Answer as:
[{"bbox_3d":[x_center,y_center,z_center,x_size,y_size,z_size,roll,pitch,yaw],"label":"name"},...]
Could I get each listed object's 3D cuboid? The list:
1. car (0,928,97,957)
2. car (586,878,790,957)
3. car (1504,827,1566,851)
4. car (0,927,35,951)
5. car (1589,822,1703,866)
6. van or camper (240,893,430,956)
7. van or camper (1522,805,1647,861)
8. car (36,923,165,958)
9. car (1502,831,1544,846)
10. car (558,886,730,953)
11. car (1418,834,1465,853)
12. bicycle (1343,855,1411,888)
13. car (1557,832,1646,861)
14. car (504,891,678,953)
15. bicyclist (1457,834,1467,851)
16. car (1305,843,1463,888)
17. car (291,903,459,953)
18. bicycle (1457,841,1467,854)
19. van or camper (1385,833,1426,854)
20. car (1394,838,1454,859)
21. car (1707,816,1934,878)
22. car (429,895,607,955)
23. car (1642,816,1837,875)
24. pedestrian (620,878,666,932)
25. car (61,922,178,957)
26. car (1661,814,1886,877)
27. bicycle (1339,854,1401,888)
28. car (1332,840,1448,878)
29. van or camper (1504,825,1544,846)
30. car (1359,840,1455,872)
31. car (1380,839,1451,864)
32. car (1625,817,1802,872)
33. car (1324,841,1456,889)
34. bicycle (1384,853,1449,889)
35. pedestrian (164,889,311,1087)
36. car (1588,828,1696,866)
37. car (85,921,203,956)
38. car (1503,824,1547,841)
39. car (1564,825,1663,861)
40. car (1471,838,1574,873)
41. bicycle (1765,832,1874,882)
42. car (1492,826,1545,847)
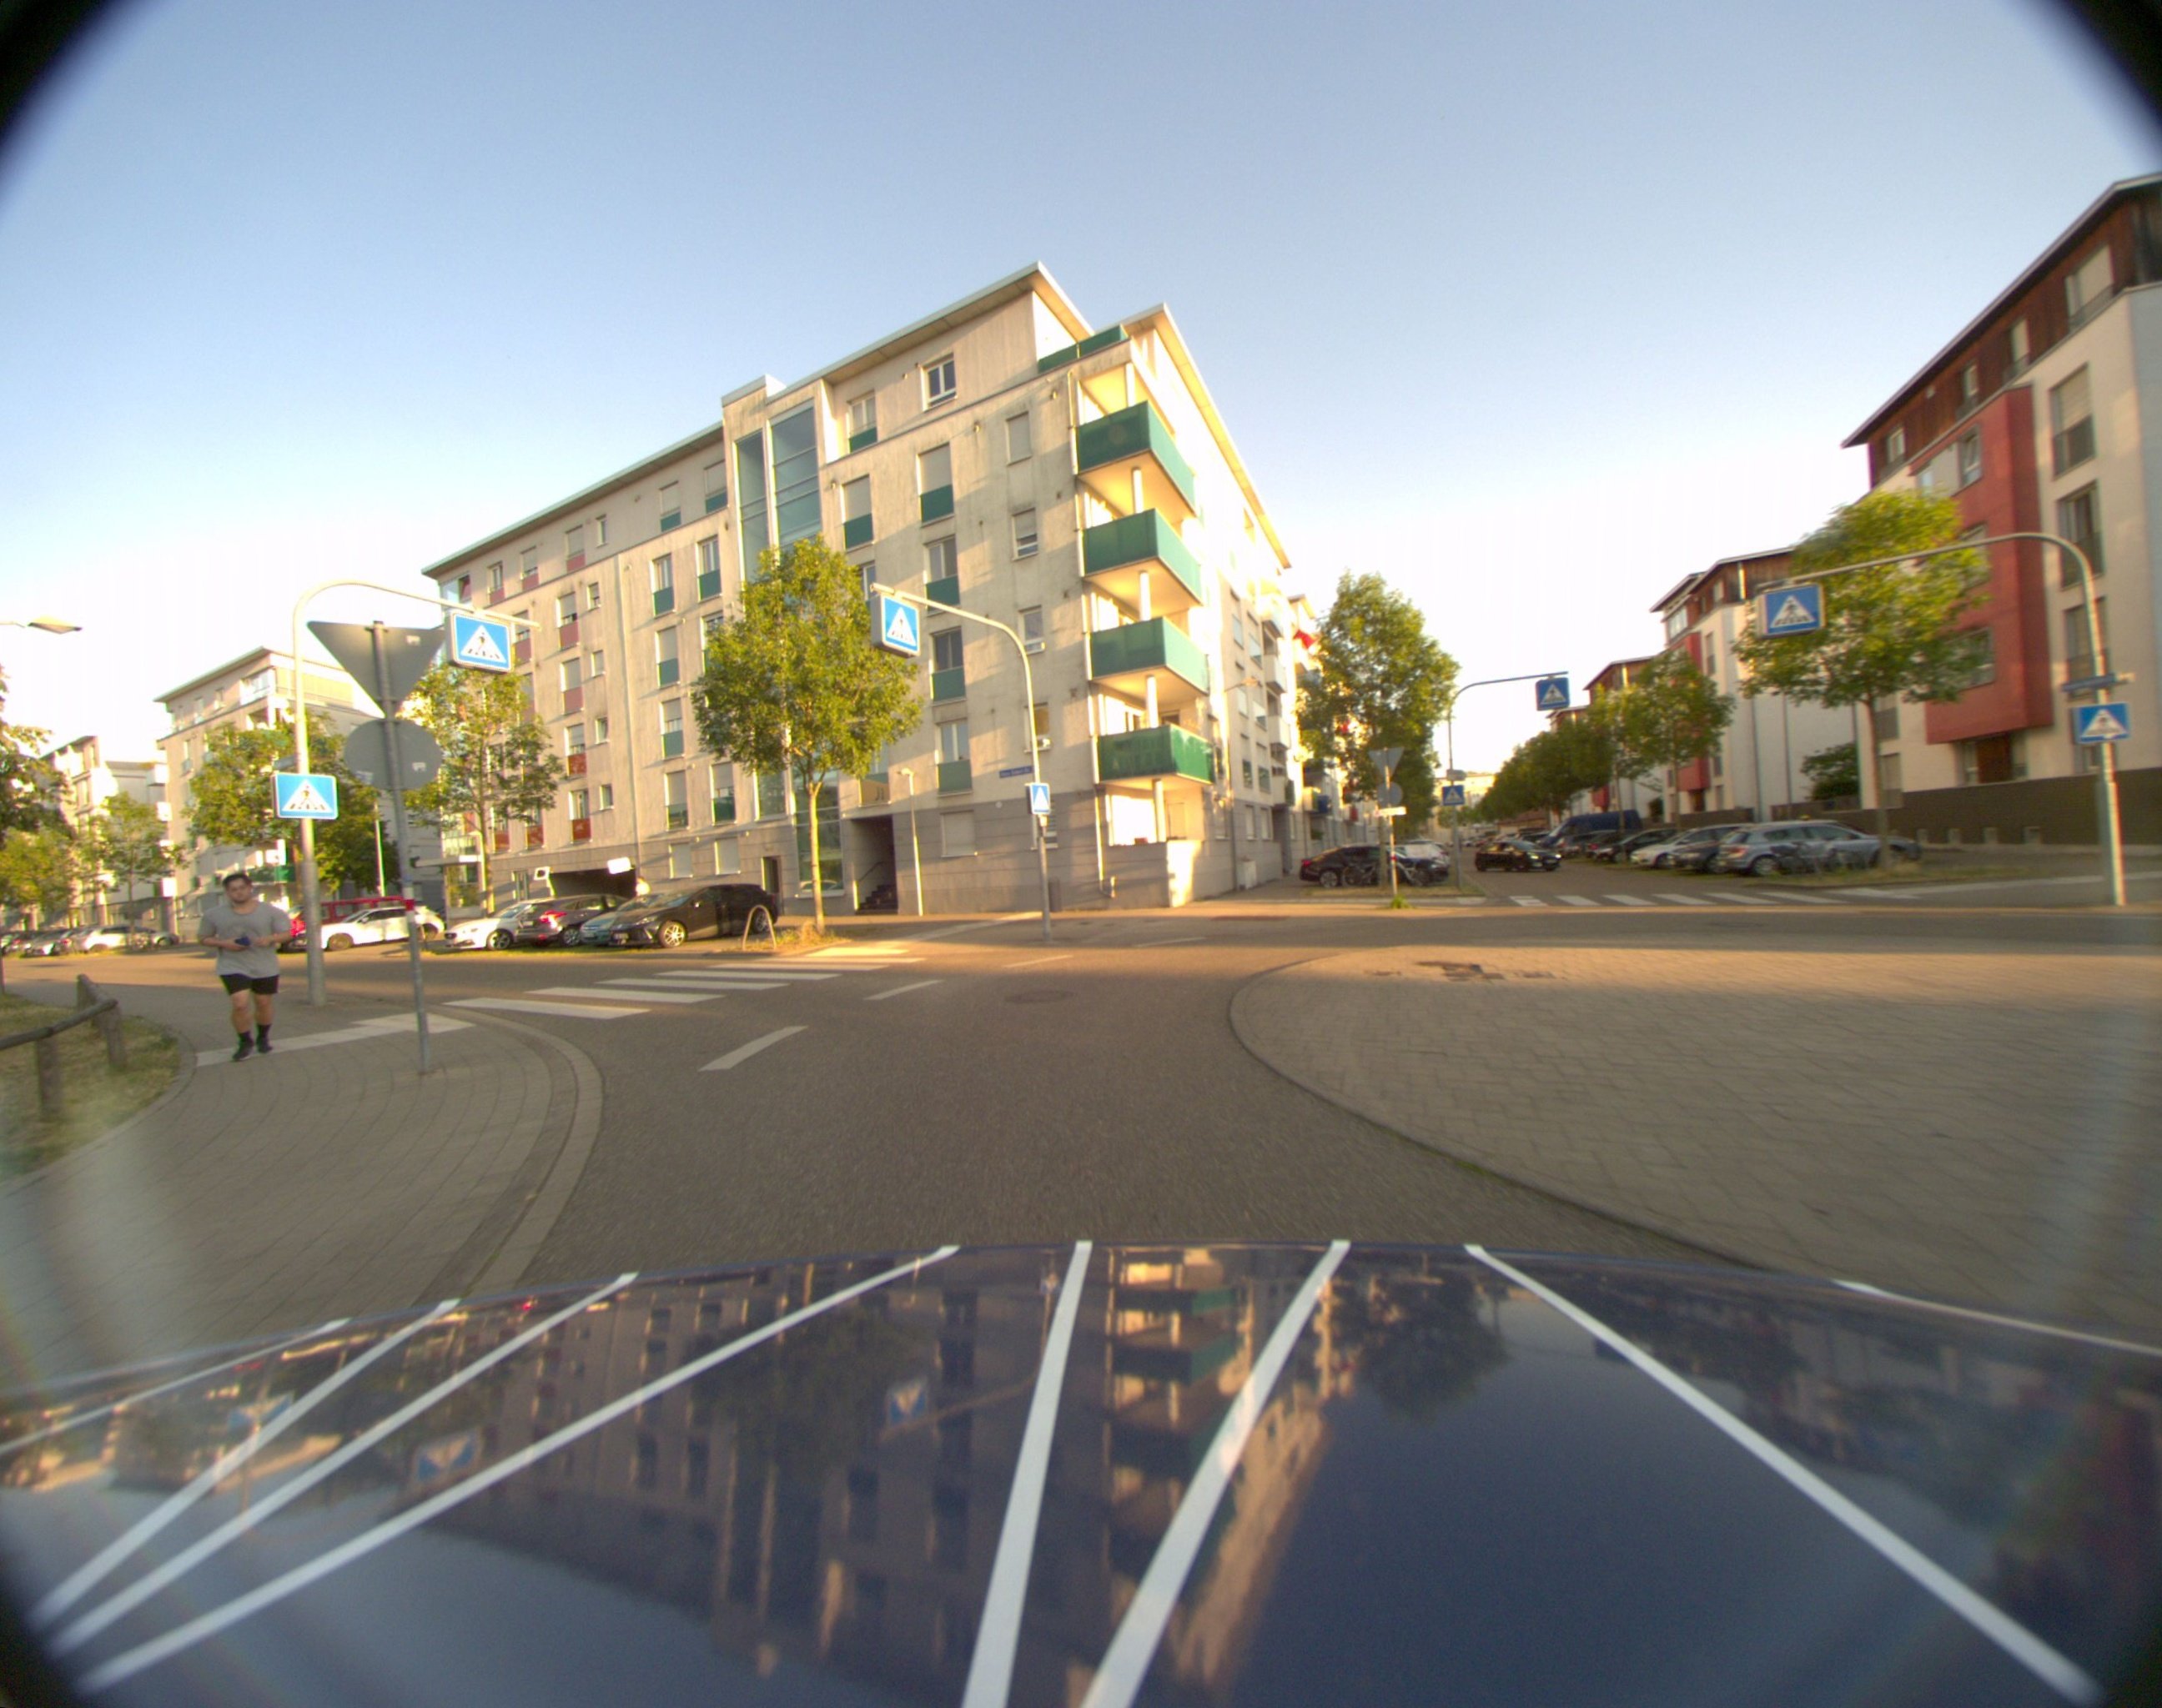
[{"bbox_3d":[-72.690,6.187,53.124,1.947,1.583,4.420,-4,-1,25],"label":"car"},{"bbox_3d":[-10.212,1.600,20.159,1.829,1.479,4.487,-4,2,27],"label":"car"},{"bbox_3d":[38.258,-1.244,64.139,4.244,1.919,1.695,-1,1,24],"label":"car"},{"bbox_3d":[-90.587,7.212,62.824,1.947,1.827,4.420,-4,-1,24],"label":"car"},{"bbox_3d":[26.483,-0.465,35.766,3.913,1.700,1.726,-5,-1,21],"label":"car"},{"bbox_3d":[-30.310,2.822,31.125,1.873,2.047,5.141,-4,-1,26],"label":"van or camper"},{"bbox_3d":[32.817,-1.299,49.798,6.305,3.068,2.446,-5,-1,21],"label":"van or camper"},{"bbox_3d":[-59.484,5.229,46.189,1.947,1.583,4.420,-4,-1,25],"label":"car"},{"bbox_3d":[53.601,-1.850,92.222,4.243,1.776,1.695,-1,1,26],"label":"car"},{"bbox_3d":[-12.454,1.827,21.960,1.556,1.366,4.011,-4,2,27],"label":"car"},{"bbox_3d":[36.810,-1.073,77.631,4.243,1.768,1.695,-1,1,26],"label":"car"},{"bbox_3d":[9.553,0.576,24.583,2.031,1.040,0.474,-1,0,21],"label":"bicycle"},{"bbox_3d":[30.804,-0.448,45.096,4.095,1.616,1.726,-1,1,21],"label":"car"},{"bbox_3d":[-14.669,1.995,22.999,1.697,1.470,4.063,-4,-1,27],"label":"car"},{"bbox_3d":[38.540,-1.161,76.946,0.766,1.617,0.664,-4,-1,24],"label":"bicyclist"},{"bbox_3d":[10.444,0.399,26.253,4.878,1.449,1.941,-1,0,27],"label":"car"},{"bbox_3d":[-27.575,2.842,29.867,1.697,1.512,4.475,-4,-1,27],"label":"car"},{"bbox_3d":[38.588,-0.690,76.977,0.770,1.259,1.784,-4,-1,24],"label":"bicycle"},{"bbox_3d":[36.906,-1.191,86.438,4.244,2.198,1.695,-1,1,25],"label":"van or camper"},{"bbox_3d":[27.193,-0.419,60.250,4.243,1.527,1.695,-1,1,26],"label":"car"},{"bbox_3d":[20.852,-0.173,21.674,4.285,1.449,1.683,-4,-1,23],"label":"car"},{"bbox_3d":[-17.352,2.148,23.660,1.697,1.470,4.063,-4,-1,27],"label":"car"},{"bbox_3d":[22.727,-0.271,26.490,4.778,1.545,1.714,-6,-2,29],"label":"car"},{"bbox_3d":[-16.183,1.867,28.073,1.047,1.883,0.981,-4,-1,28],"label":"pedestrian"},{"bbox_3d":[-57.079,5.060,45.174,1.775,1.583,3.963,-4,-1,25],"label":"car"},{"bbox_3d":[21.710,-0.238,24.110,4.908,1.469,1.713,-6,-2,23],"label":"car"},{"bbox_3d":[8.973,0.531,23.627,1.789,1.036,0.568,-1,0,21],"label":"bicycle"},{"bbox_3d":[12.657,0.218,31.155,4.286,1.485,1.745,-1,0,24],"label":"car"},{"bbox_3d":[56.292,-2.335,96.522,4.243,2.520,1.763,-1,1,26],"label":"van or camper"},{"bbox_3d":[16.127,0.094,37.793,4.286,1.499,1.688,-1,1,22],"label":"car"},{"bbox_3d":[21.304,-0.148,48.559,4.095,1.500,1.668,-1,1,21],"label":"car"},{"bbox_3d":[23.899,-0.321,28.939,4.753,1.575,1.761,-6,-1,21],"label":"car"},{"bbox_3d":[11.672,0.413,28.760,4.405,1.499,1.746,-4,-1,28],"label":"car"},{"bbox_3d":[10.435,0.532,23.683,1.836,1.065,0.474,-1,0,21],"label":"bicycle"},{"bbox_3d":[-8.090,1.232,7.296,0.800,1.719,0.769,-4,-1,32],"label":"pedestrian"},{"bbox_3d":[27.786,-0.328,37.754,3.913,1.506,1.726,-5,-1,21],"label":"car"},{"bbox_3d":[-54.580,4.889,44.344,1.775,1.583,3.963,-4,-1,25],"label":"car"},{"bbox_3d":[51.104,-2.465,87.507,4.243,1.776,1.695,-1,1,26],"label":"car"},{"bbox_3d":[29.527,-0.581,42.265,4.096,1.615,1.726,-5,-1,21],"label":"car"},{"bbox_3d":[20.102,0.059,34.802,1.778,1.454,4.174,-1,0,-11],"label":"car"},{"bbox_3d":[18.907,0.089,19.499,1.819,1.060,0.568,-7,-2,23],"label":"bicycle"},{"bbox_3d":[42.087,-1.633,73.148,4.244,1.919,1.695,-1,1,24],"label":"car"}]
